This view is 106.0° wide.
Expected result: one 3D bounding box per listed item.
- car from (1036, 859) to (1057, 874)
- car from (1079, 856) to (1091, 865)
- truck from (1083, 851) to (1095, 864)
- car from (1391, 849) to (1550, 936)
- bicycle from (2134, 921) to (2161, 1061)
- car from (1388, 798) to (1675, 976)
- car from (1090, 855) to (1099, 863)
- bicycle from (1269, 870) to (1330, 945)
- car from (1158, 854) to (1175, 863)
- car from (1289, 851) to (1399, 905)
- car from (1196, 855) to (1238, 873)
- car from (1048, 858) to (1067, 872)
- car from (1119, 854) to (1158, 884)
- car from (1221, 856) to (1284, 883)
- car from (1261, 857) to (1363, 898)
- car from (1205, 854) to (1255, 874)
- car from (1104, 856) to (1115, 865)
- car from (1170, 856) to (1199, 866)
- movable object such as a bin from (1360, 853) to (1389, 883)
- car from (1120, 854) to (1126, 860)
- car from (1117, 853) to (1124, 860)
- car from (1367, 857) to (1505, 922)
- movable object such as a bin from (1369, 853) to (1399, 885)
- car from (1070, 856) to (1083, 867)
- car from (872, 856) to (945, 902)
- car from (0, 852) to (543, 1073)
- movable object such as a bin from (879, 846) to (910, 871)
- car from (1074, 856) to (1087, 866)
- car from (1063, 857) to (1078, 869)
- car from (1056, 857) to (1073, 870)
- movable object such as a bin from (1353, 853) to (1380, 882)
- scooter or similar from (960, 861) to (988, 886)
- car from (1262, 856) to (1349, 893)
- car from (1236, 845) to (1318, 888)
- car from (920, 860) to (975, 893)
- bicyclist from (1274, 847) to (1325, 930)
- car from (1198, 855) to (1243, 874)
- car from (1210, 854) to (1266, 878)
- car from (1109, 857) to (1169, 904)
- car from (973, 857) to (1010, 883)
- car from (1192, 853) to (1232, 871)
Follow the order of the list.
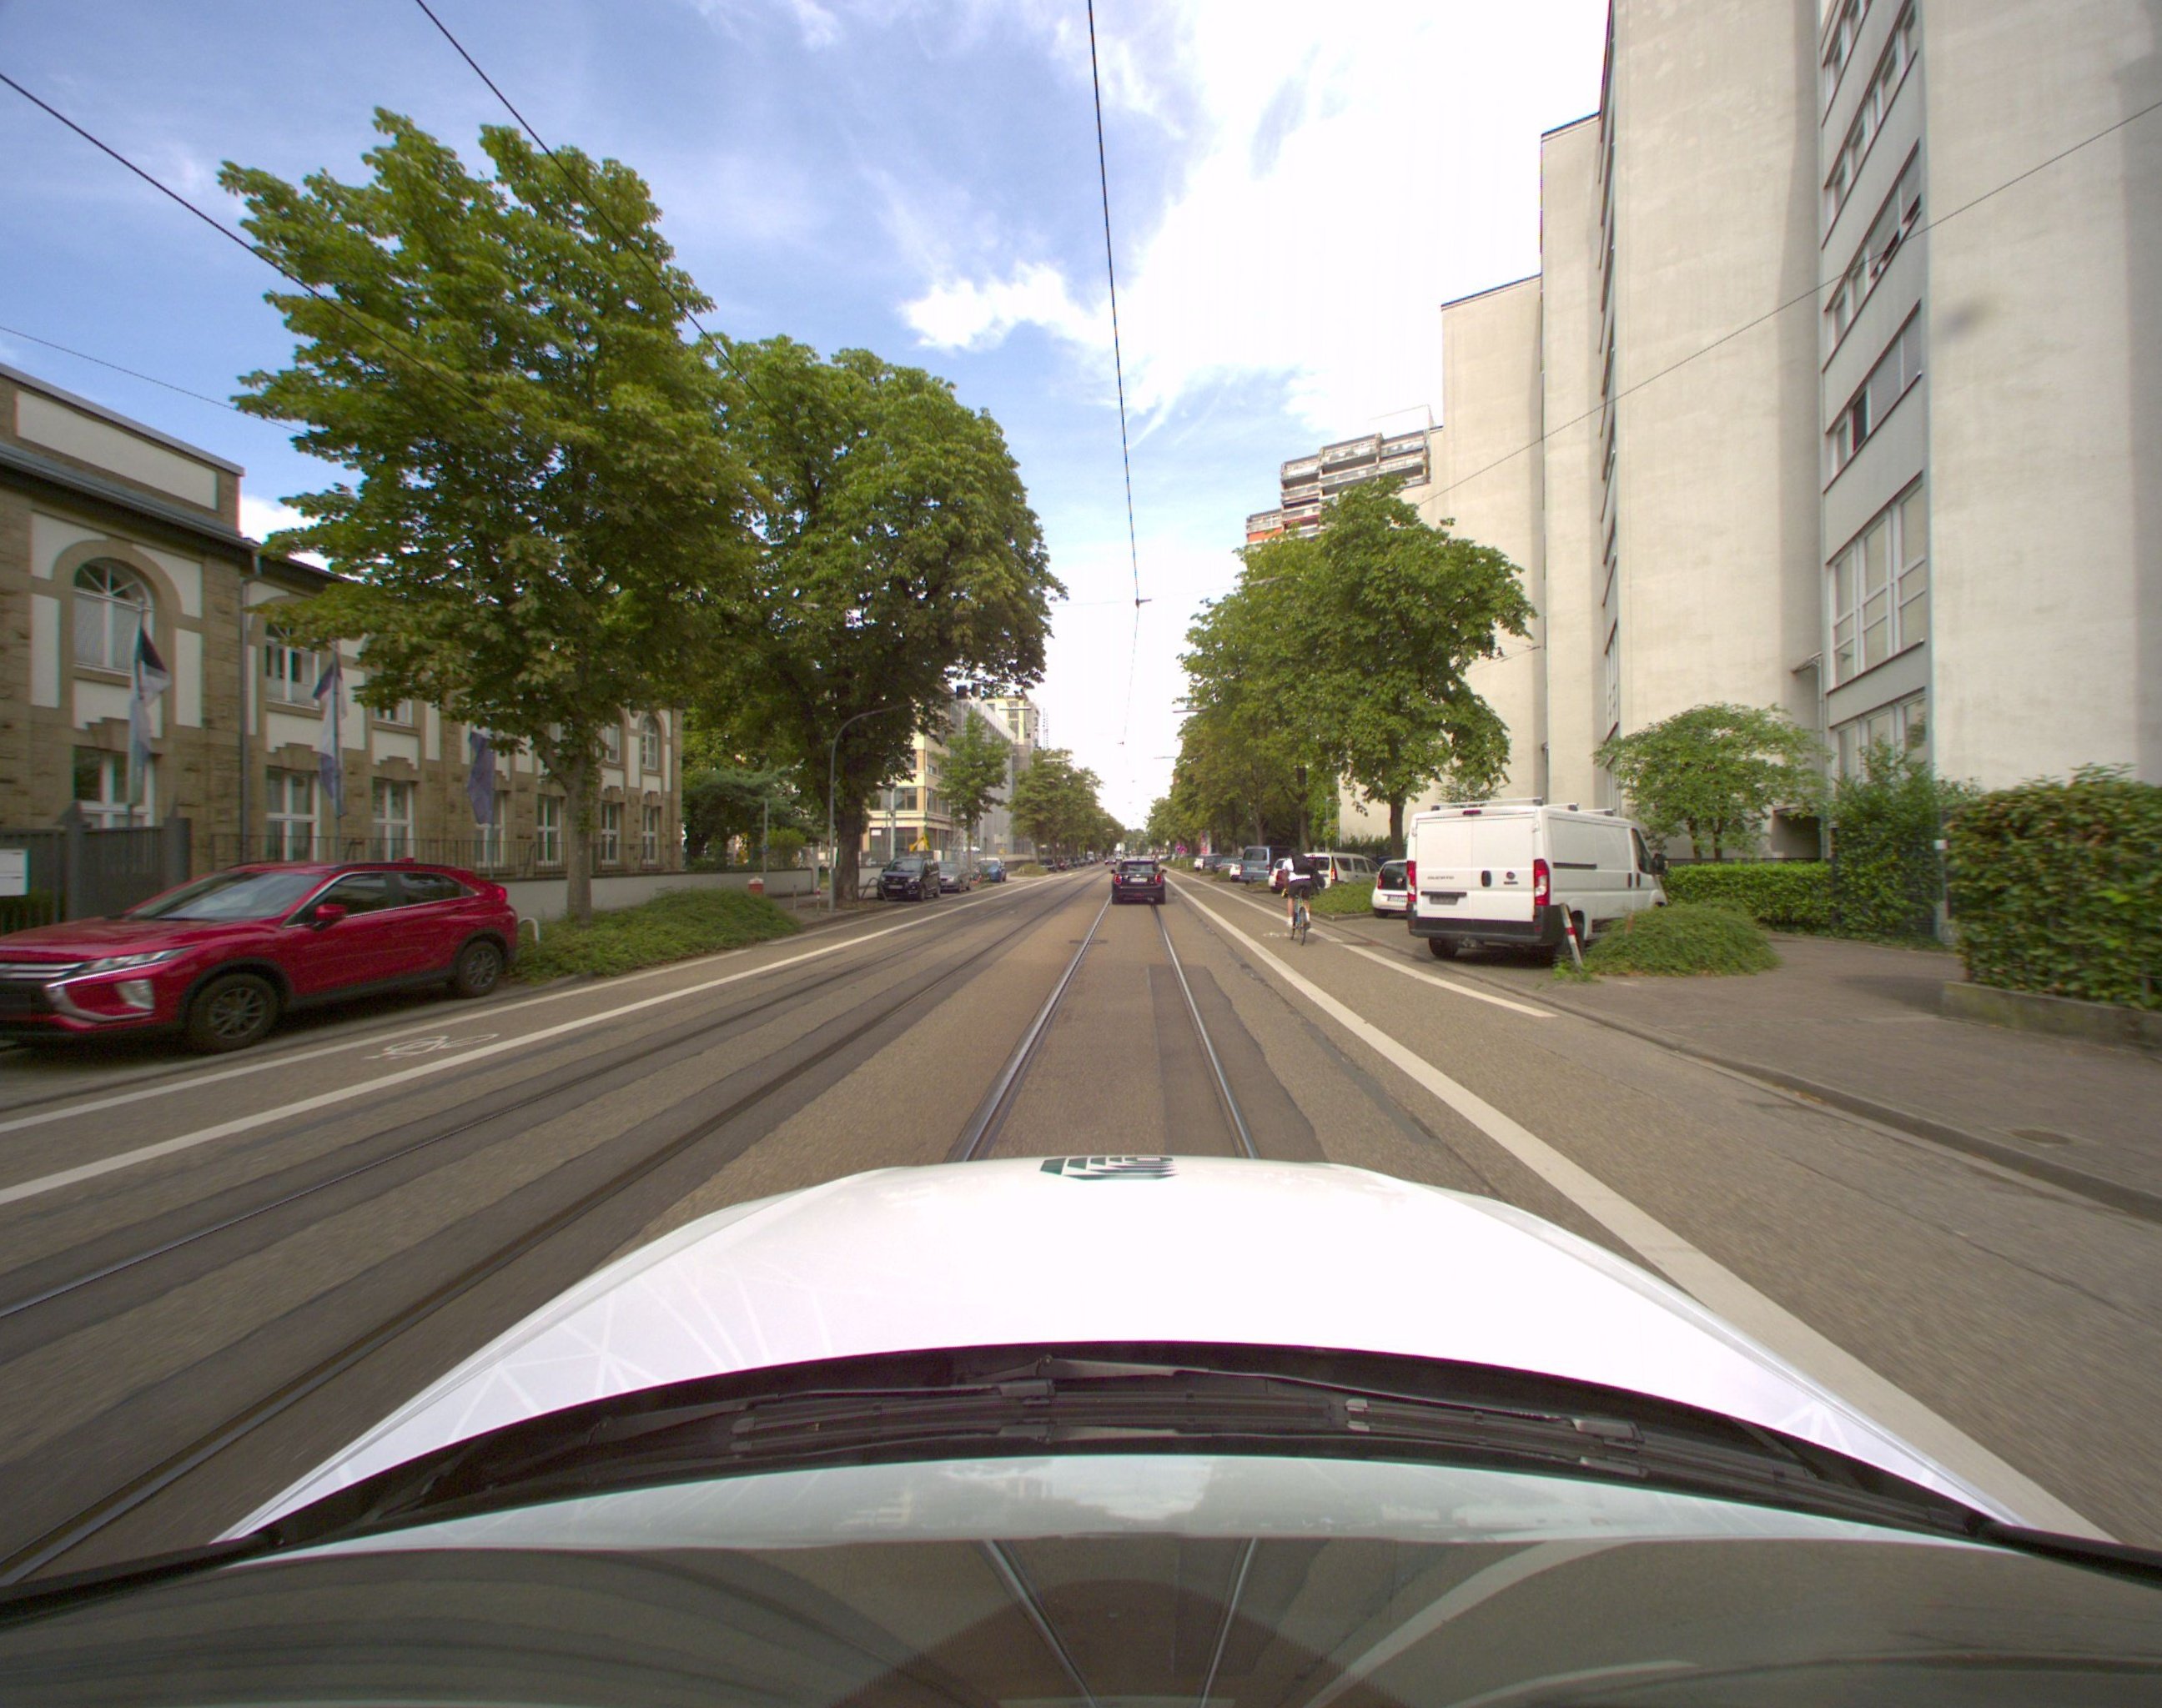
[{"bbox_3d":[-3.520,1.256,83.419,1.795,1.374,4.034,-1,0,3],"label":"car"},{"bbox_3d":[0.737,1.115,144.282,1.795,1.583,4.034,-1,0,3],"label":"car"},{"bbox_3d":[1.595,0.689,157.375,2.062,2.470,4.902,-1,0,3],"label":"truck"},{"bbox_3d":[8.400,0.751,17.406,3.981,1.649,1.669,0,-1,-42],"label":"car"},{"bbox_3d":[7.260,0.890,4.551,0.384,0.907,1.842,-2,-1,2],"label":"bicycle"},{"bbox_3d":[7.292,0.442,12.977,4.984,2.290,2.357,0,-1,-40],"label":"car"},{"bbox_3d":[3.191,1.149,188.617,1.795,1.583,4.034,-1,0,3],"label":"car"},{"bbox_3d":[4.028,0.948,15.172,0.655,1.249,2.126,0,0,2],"label":"bicycle"},{"bbox_3d":[20.537,1.060,195.583,3.973,1.910,2.000,0,0,0],"label":"car"},{"bbox_3d":[8.832,0.748,27.175,4.131,1.668,1.669,1,-1,-42],"label":"car"},{"bbox_3d":[11.695,0.848,69.783,3.462,1.442,1.543,0,0,-36],"label":"car"},{"bbox_3d":[-2.661,1.224,94.136,1.795,1.583,4.034,-1,0,3],"label":"car"},{"bbox_3d":[2.988,0.736,42.908,1.787,1.470,4.000,1,0,0],"label":"car"},{"bbox_3d":[9.799,0.861,46.454,3.850,1.460,1.620,1,-1,-44],"label":"car"},{"bbox_3d":[8.662,0.850,30.368,3.995,1.432,1.670,0,-1,-39],"label":"car"},{"bbox_3d":[10.995,0.722,59.957,3.760,1.459,1.621,0,-1,-42],"label":"car"},{"bbox_3d":[4.820,1.118,136.905,1.827,1.448,4.557,0,0,3],"label":"car"},{"bbox_3d":[15.067,0.986,118.472,3.973,1.425,1.885,0,0,0],"label":"car"},{"bbox_3d":[15.017,0.716,41.669,1.064,1.508,1.324,0,0,4],"label":"movable object such as a bin"},{"bbox_3d":[11.987,0.919,233.797,1.795,1.622,4.488,-1,0,3],"label":"car"},{"bbox_3d":[10.365,0.754,214.906,1.795,1.823,4.488,-1,0,3],"label":"car"},{"bbox_3d":[9.136,0.838,20.811,4.114,1.511,1.669,0,-1,-42],"label":"car"},{"bbox_3d":[14.894,0.717,40.018,1.064,1.508,1.324,0,0,4],"label":"movable object such as a bin"},{"bbox_3d":[-0.664,1.117,123.671,1.795,1.583,4.034,-1,0,3],"label":"car"},{"bbox_3d":[-6.530,0.902,31.242,1.748,1.647,4.055,1,0,3],"label":"car"},{"bbox_3d":[-8.141,0.839,8.577,1.714,1.655,4.545,2,0,3],"label":"car"},{"bbox_3d":[-15.412,0.376,67.451,1.976,2.067,1.963,0,0,6],"label":"movable object such as a bin"},{"bbox_3d":[-0.105,1.119,132.893,1.795,1.583,4.034,-1,0,3],"label":"car"},{"bbox_3d":[-1.443,1.240,113.517,1.795,1.583,4.034,-1,0,3],"label":"car"},{"bbox_3d":[-2.039,1.144,102.996,1.795,1.583,4.034,-1,0,3],"label":"car"},{"bbox_3d":[15.062,0.715,42.992,1.064,1.508,1.215,0,0,4],"label":"movable object such as a bin"},{"bbox_3d":[-5.987,1.083,45.623,1.437,1.344,0.701,-2,0,5],"label":"scooter or similar"},{"bbox_3d":[9.213,0.800,33.276,3.736,1.432,1.669,0,-1,-42],"label":"car"},{"bbox_3d":[9.644,0.586,39.866,4.299,2.015,1.809,1,-1,-42],"label":"car"},{"bbox_3d":[-6.113,1.007,37.726,1.686,1.427,3.871,1,0,3],"label":"car"},{"bbox_3d":[4.023,0.617,15.048,0.655,1.463,1.179,0,0,2],"label":"bicyclist"},{"bbox_3d":[11.426,0.851,66.793,3.550,1.442,1.606,0,0,-36],"label":"car"},{"bbox_3d":[10.261,0.795,53.184,3.760,1.522,1.621,0,-1,-42],"label":"car"},{"bbox_3d":[1.855,0.809,26.947,1.787,1.423,4.001,0,0,1],"label":"car"},{"bbox_3d":[-5.460,0.969,49.906,1.686,1.487,3.680,1,0,3],"label":"car"},{"bbox_3d":[11.705,0.707,72.610,3.462,1.573,1.543,0,0,-36],"label":"car"}]
